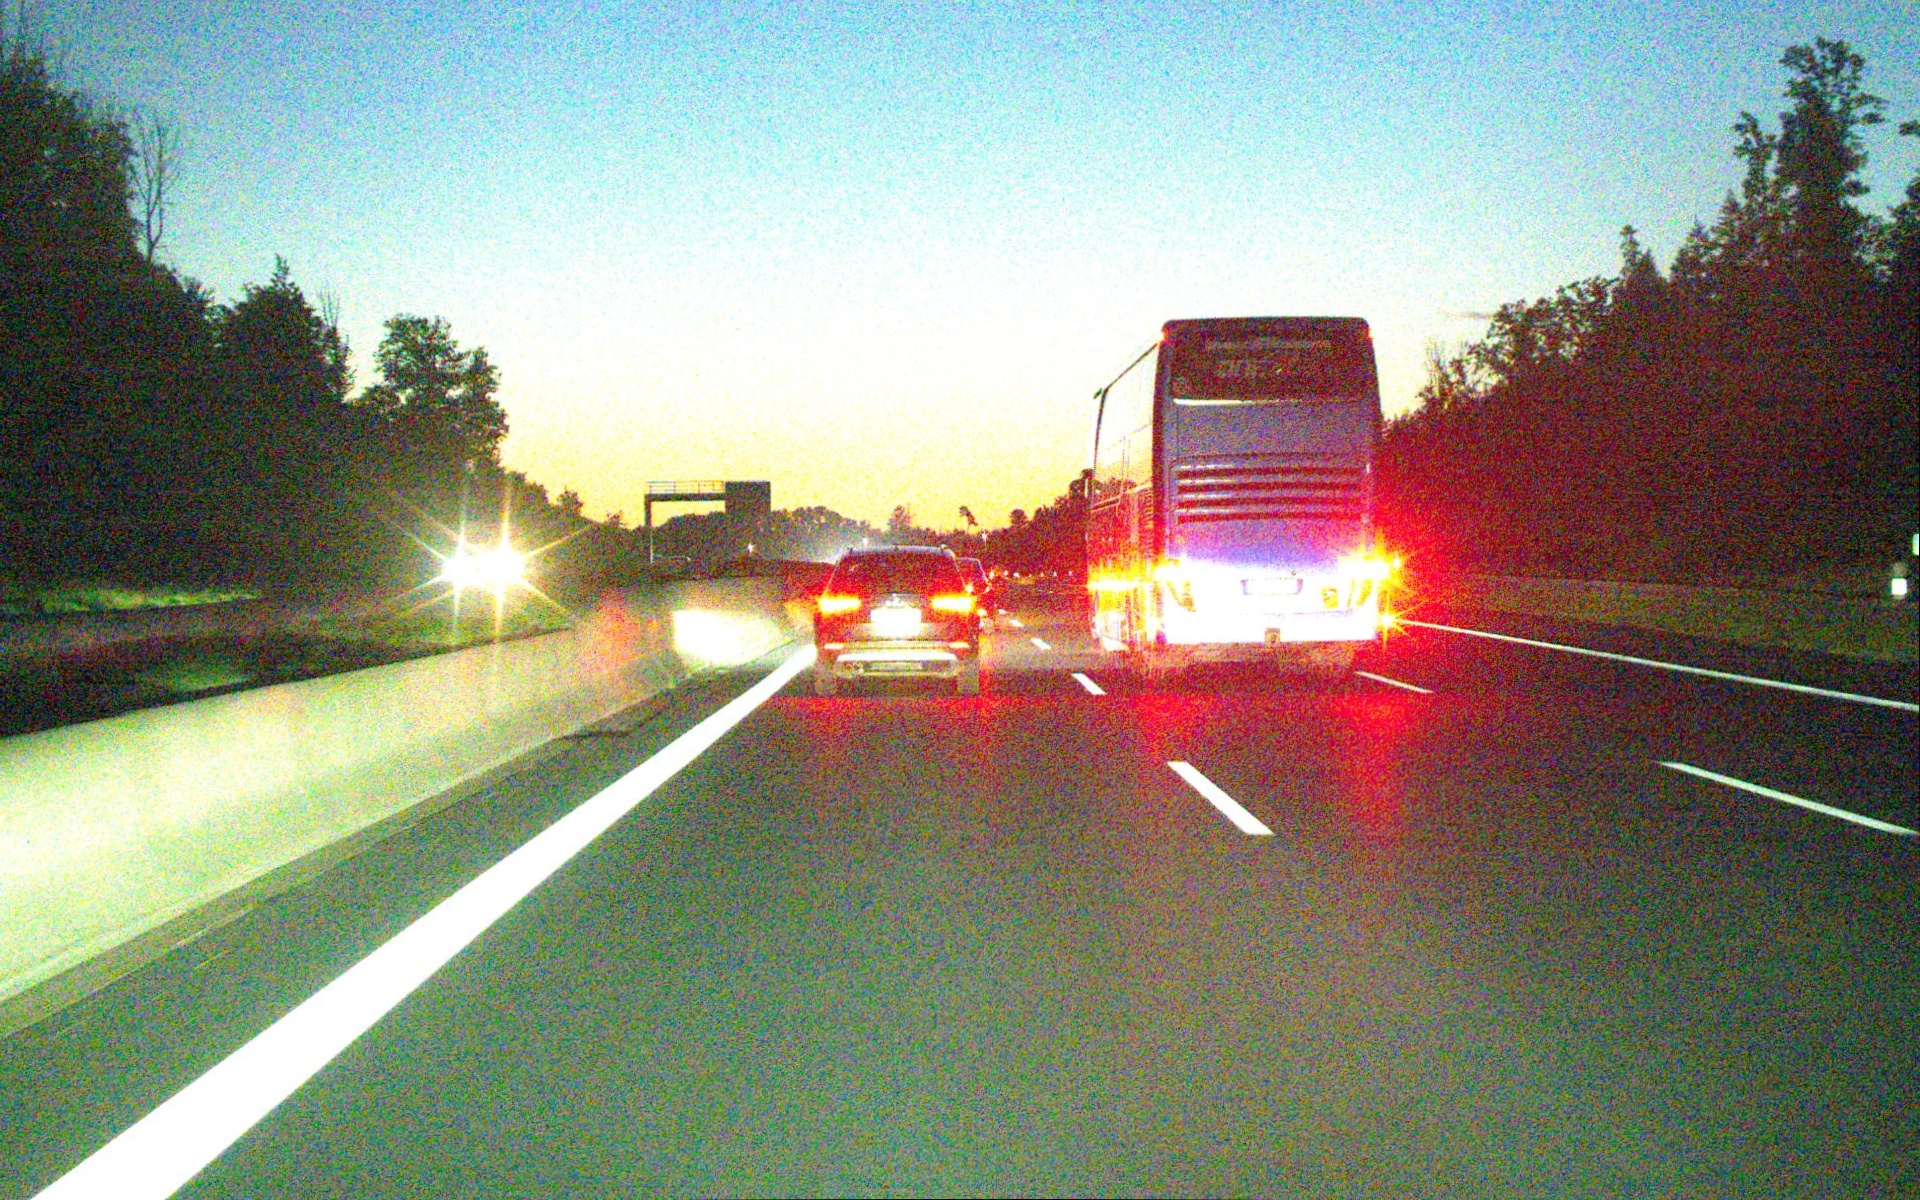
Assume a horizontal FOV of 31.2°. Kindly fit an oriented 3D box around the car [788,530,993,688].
[{"bbox_3d":[-0.797,0.092,37.634,2.105,1.612,4.204,-1,0,-2],"label":"car"}]

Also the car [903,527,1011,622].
[{"bbox_3d":[-0.092,-0.482,66.028,1.911,1.724,4.000,-1,0,-2],"label":"car"}]

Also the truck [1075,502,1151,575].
[{"bbox_3d":[6.299,-2.506,142.593,2.603,2.865,7.486,2,0,-1],"label":"truck"}]

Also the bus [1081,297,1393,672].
[{"bbox_3d":[3.231,-1.262,44.186,2.652,3.980,14.702,-1,0,0],"label":"bus"}]

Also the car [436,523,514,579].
[{"bbox_3d":[-16.223,-1.678,115.292,1.992,1.770,5.171,2,1,-2],"label":"car"}]

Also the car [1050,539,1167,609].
[{"bbox_3d":[2.823,-0.482,66.151,1.911,1.270,4.000,-1,0,-2],"label":"car"}]
